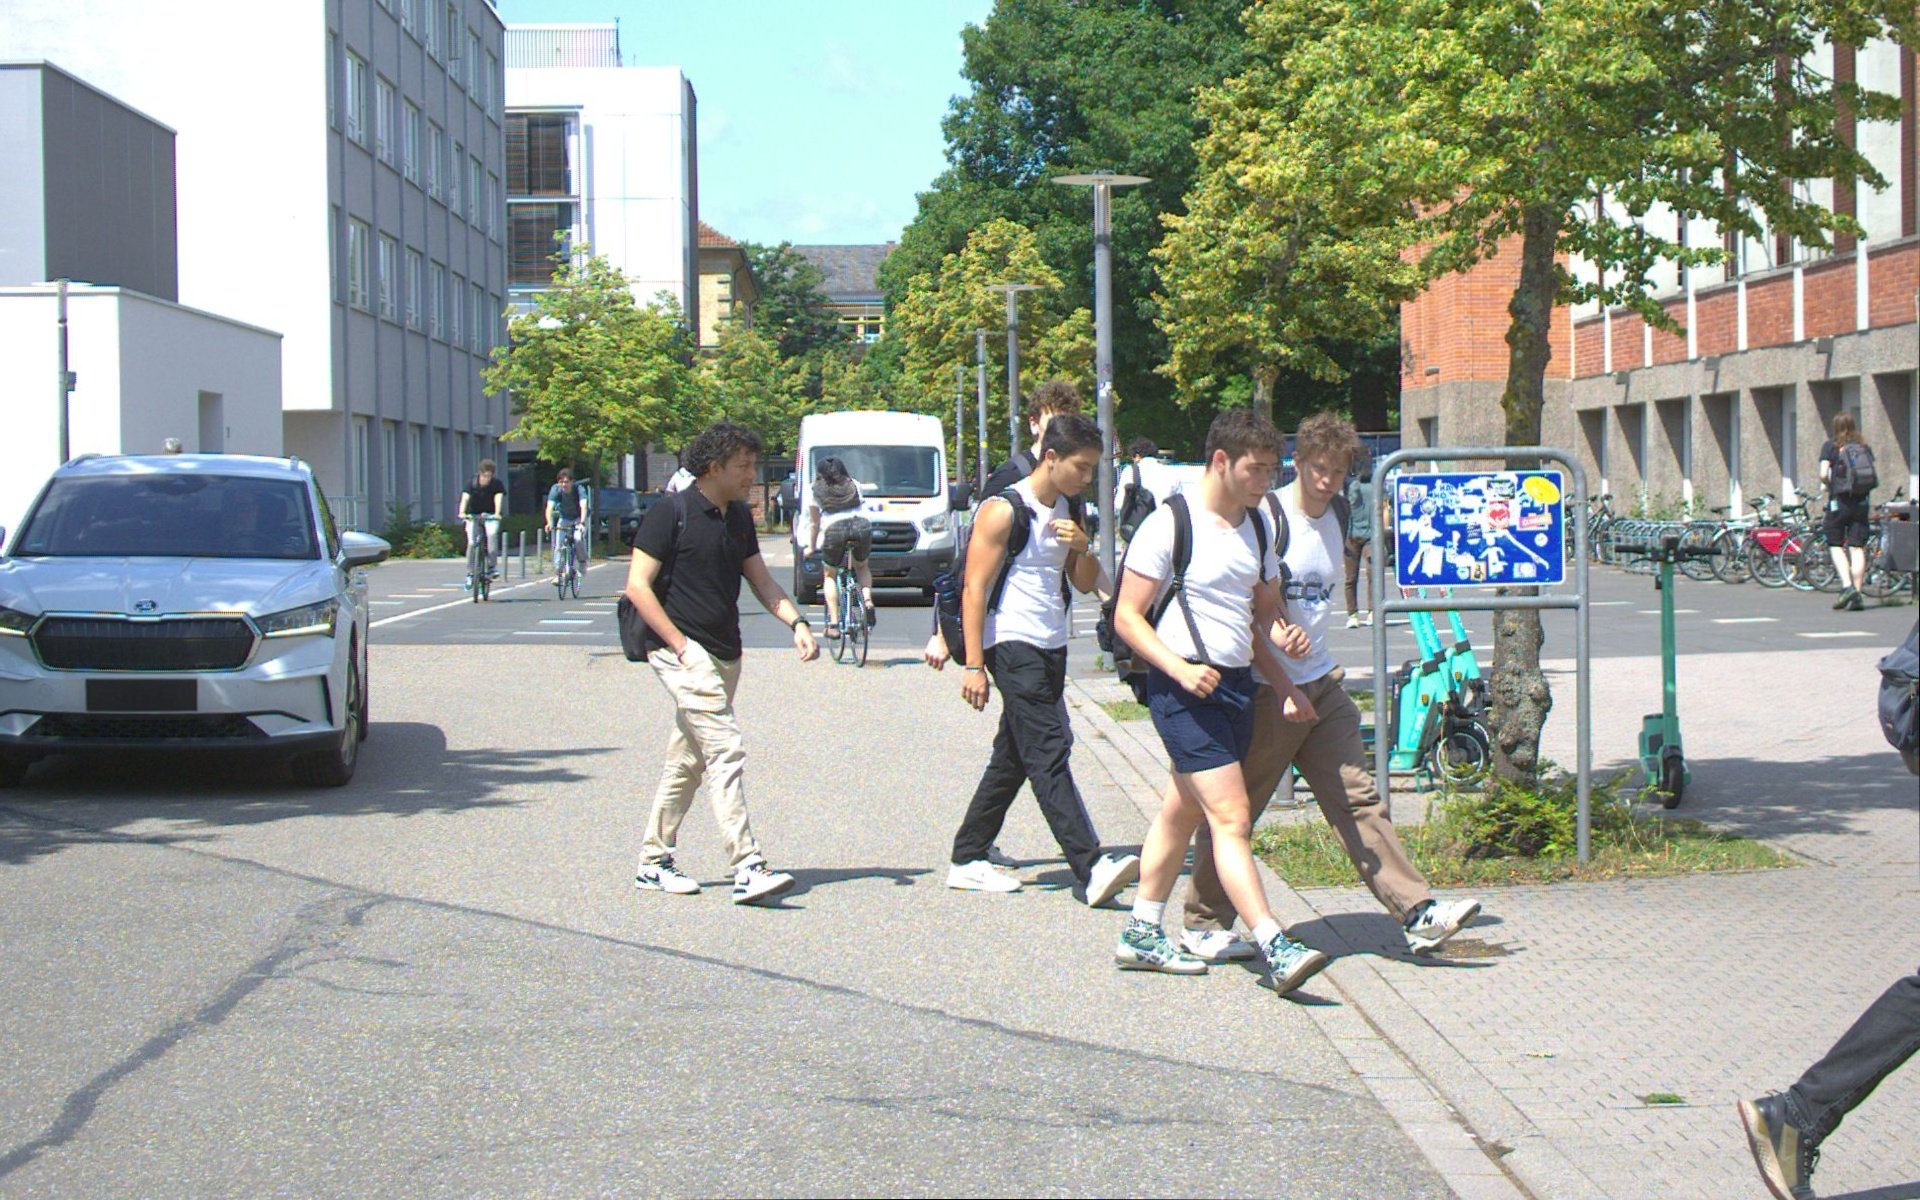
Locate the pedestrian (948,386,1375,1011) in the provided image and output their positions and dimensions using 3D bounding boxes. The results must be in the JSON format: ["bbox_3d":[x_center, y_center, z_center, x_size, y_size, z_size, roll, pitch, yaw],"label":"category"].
[{"bbox_3d":[0.592,0.260,10.101,0.982,1.733,0.699,0,2,38],"label":"pedestrian"}]

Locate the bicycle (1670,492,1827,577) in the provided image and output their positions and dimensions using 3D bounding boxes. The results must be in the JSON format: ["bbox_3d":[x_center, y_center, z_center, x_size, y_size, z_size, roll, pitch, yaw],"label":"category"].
[{"bbox_3d":[9.891,-0.830,43.152,1.809,0.981,0.560,-2,2,-2],"label":"bicycle"}]

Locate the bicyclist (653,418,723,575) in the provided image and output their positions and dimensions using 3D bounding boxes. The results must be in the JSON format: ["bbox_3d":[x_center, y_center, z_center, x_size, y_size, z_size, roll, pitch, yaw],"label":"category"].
[{"bbox_3d":[-3.061,-1.156,38.766,0.771,1.750,0.848,0,0,-4],"label":"bicyclist"}]

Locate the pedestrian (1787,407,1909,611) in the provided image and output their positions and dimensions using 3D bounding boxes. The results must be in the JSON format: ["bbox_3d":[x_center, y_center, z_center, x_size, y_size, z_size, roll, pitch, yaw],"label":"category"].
[{"bbox_3d":[8.303,-0.857,32.176,0.790,1.853,1.116,-1,2,-2],"label":"pedestrian"}]

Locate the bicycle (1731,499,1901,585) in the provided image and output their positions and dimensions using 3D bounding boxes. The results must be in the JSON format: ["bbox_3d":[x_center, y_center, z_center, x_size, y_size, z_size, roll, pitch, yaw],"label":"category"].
[{"bbox_3d":[9.973,-0.682,40.065,1.809,0.908,0.560,-2,2,-2],"label":"bicycle"}]

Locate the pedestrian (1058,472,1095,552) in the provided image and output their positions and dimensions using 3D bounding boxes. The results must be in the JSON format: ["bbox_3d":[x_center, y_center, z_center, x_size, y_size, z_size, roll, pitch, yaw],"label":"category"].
[{"bbox_3d":[2.733,-2.069,80.879,0.790,1.853,1.026,-1,2,0],"label":"pedestrian"}]

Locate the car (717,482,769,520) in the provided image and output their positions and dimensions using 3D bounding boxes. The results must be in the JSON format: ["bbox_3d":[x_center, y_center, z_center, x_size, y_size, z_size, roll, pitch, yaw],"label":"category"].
[{"bbox_3d":[-9.271,-4.249,146.996,1.795,1.524,4.000,-1,2,2],"label":"car"}]

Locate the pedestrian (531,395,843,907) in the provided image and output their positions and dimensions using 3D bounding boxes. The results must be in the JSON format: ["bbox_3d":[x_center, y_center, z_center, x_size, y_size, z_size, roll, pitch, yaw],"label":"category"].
[{"bbox_3d":[-0.968,0.157,12.358,0.802,1.766,0.854,0,3,20],"label":"pedestrian"}]

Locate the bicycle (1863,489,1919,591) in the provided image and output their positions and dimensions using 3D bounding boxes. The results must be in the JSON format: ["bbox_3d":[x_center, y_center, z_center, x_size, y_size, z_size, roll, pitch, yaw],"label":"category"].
[{"bbox_3d":[10.281,-0.648,35.880,1.535,1.029,0.560,-2,2,-2],"label":"bicycle"}]

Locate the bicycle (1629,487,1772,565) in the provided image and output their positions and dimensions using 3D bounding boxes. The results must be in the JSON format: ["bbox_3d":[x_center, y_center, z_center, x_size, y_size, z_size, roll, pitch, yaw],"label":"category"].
[{"bbox_3d":[10.154,-1.016,47.171,1.809,0.981,0.560,-2,2,-2],"label":"bicycle"}]

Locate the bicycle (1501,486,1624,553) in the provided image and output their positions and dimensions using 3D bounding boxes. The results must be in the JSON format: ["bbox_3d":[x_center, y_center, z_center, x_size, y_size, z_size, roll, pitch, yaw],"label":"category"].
[{"bbox_3d":[9.529,-1.272,54.415,1.809,0.981,0.560,-2,2,-2],"label":"bicycle"}]

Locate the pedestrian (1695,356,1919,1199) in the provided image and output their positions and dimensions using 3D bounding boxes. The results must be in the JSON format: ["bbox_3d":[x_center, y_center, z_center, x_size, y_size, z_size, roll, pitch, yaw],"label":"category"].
[{"bbox_3d":[2.063,0.378,6.788,1.105,1.710,0.710,-1,2,8],"label":"pedestrian"}]

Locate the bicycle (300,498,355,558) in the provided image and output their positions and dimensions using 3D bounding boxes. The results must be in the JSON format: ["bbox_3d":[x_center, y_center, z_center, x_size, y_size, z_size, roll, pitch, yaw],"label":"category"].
[{"bbox_3d":[-10.818,-1.237,58.834,0.523,0.981,1.633,-2,2,3],"label":"bicycle"}]

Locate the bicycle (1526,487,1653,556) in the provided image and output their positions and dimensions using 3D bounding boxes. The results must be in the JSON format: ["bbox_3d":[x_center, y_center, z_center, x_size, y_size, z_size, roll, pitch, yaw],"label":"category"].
[{"bbox_3d":[9.682,-1.216,52.884,1.809,0.981,0.560,-2,2,-2],"label":"bicycle"}]

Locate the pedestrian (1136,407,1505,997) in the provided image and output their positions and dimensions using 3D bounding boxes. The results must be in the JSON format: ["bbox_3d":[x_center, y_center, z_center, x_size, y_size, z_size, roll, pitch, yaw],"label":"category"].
[{"bbox_3d":[1.113,0.280,10.631,0.908,1.733,0.677,2,3,37],"label":"pedestrian"}]

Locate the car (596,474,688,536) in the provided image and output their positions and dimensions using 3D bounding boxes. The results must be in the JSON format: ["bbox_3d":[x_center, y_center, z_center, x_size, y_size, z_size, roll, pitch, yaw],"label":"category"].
[{"bbox_3d":[-8.143,-2.464,88.365,1.795,1.524,4.000,-1,2,2],"label":"car"}]

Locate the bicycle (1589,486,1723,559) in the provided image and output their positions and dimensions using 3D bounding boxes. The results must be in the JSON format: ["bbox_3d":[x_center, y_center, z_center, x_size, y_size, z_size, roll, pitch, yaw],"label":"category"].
[{"bbox_3d":[10.188,-1.139,50.358,1.809,0.981,0.560,-2,2,-2],"label":"bicycle"}]

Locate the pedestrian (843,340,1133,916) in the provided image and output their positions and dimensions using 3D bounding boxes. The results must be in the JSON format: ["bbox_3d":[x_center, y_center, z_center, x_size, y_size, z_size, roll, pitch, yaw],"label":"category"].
[{"bbox_3d":[0.093,0.088,12.290,0.616,1.973,0.829,-2,1,-33],"label":"pedestrian"}]

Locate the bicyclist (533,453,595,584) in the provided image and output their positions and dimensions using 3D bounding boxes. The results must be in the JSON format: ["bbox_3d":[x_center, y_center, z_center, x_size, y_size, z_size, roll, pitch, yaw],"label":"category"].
[{"bbox_3d":[-5.156,-1.066,44.803,0.667,1.676,0.993,-2,2,-2],"label":"bicyclist"}]

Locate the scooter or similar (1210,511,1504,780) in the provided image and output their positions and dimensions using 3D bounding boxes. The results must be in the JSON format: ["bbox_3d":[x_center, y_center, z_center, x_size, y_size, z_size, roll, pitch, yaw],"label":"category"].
[{"bbox_3d":[1.950,0.209,16.894,1.262,1.260,0.650,0,2,31],"label":"scooter or similar"}]

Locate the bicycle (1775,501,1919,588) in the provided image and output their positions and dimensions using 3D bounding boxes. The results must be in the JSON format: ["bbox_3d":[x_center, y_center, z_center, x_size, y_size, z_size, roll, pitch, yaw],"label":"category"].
[{"bbox_3d":[10.149,-0.629,38.666,1.809,0.908,0.560,-2,2,-2],"label":"bicycle"}]

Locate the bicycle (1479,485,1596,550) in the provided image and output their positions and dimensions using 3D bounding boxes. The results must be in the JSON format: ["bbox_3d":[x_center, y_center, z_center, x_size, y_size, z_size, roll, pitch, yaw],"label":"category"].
[{"bbox_3d":[9.528,-1.365,56.751,1.809,0.981,0.560,-2,2,-2],"label":"bicycle"}]

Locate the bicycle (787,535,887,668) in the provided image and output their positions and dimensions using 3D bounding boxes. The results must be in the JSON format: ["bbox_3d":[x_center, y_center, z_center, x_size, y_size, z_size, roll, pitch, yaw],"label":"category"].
[{"bbox_3d":[-1.016,-0.005,28.046,0.706,0.989,1.911,0,3,-5],"label":"bicycle"}]

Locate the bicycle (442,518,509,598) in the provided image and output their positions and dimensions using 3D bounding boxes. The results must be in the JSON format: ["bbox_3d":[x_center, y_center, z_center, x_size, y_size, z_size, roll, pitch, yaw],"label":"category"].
[{"bbox_3d":[-6.066,-0.539,43.119,0.677,0.961,2.003,0,2,-4],"label":"bicycle"}]

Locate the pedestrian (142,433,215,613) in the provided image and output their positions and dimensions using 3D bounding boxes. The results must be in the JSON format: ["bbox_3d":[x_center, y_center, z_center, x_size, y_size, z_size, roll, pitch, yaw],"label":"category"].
[{"bbox_3d":[-7.858,-0.771,34.571,0.666,1.779,0.985,-1,1,-14],"label":"pedestrian"}]

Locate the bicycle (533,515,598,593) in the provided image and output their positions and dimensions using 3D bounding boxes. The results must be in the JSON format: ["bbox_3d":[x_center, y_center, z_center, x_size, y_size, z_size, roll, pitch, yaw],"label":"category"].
[{"bbox_3d":[-5.154,-0.612,44.957,0.677,0.961,2.003,1,2,-2],"label":"bicycle"}]

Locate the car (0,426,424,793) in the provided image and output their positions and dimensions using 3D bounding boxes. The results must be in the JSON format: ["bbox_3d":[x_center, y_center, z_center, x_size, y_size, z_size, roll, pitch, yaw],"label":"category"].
[{"bbox_3d":[-3.862,0.000,17.820,1.917,1.613,4.521,2,1,-7],"label":"car"}]

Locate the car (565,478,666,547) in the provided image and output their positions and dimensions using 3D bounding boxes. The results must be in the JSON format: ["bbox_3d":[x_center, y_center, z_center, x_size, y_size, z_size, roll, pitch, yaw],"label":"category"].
[{"bbox_3d":[-8.085,-2.082,80.958,1.795,1.524,4.000,-1,2,2],"label":"car"}]

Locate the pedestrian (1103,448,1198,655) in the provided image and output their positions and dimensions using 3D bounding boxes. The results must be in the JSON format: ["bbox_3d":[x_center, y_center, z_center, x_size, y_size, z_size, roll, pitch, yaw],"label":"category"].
[{"bbox_3d":[1.569,-0.413,28.476,0.702,1.689,0.962,0,2,-1],"label":"pedestrian"}]

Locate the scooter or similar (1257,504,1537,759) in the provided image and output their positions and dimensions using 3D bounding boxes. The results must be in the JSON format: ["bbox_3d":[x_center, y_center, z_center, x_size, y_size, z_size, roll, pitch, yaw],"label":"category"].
[{"bbox_3d":[2.251,0.151,17.712,1.262,1.260,0.638,0,2,31],"label":"scooter or similar"}]

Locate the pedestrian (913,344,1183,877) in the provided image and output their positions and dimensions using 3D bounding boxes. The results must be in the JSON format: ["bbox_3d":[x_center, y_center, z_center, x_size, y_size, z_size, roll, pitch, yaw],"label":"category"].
[{"bbox_3d":[0.346,0.025,13.177,0.827,1.973,0.691,0,3,20],"label":"pedestrian"}]

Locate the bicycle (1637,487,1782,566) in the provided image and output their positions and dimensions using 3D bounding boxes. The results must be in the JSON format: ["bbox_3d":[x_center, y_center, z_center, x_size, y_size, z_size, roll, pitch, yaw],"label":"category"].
[{"bbox_3d":[10.155,-0.996,46.583,1.809,0.981,0.560,-2,2,-2],"label":"bicycle"}]

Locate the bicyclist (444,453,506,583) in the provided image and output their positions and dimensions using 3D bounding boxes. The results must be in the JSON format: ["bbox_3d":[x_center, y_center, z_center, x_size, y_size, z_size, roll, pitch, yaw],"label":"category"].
[{"bbox_3d":[-6.087,-1.038,43.182,0.643,1.596,0.909,-2,2,-3],"label":"bicyclist"}]

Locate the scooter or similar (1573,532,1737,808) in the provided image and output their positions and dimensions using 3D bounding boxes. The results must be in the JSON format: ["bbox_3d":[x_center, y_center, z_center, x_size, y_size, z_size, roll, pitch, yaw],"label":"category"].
[{"bbox_3d":[3.119,0.292,15.365,0.649,1.156,1.264,-1,2,14],"label":"scooter or similar"}]

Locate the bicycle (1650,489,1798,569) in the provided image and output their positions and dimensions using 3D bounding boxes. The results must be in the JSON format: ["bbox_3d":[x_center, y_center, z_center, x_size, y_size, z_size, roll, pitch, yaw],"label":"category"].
[{"bbox_3d":[10.185,-0.954,45.850,1.809,0.981,0.560,-2,2,-2],"label":"bicycle"}]

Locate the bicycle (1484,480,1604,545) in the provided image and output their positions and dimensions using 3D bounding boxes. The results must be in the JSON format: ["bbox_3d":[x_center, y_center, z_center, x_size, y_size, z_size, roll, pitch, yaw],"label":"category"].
[{"bbox_3d":[9.527,-1.429,56.110,1.809,0.981,0.560,-2,2,-2],"label":"bicycle"}]

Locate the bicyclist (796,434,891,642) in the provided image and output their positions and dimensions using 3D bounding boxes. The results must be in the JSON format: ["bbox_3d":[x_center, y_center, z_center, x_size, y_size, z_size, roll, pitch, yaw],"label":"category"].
[{"bbox_3d":[-0.954,-0.506,27.999,0.717,1.656,1.095,0,1,-4],"label":"bicyclist"}]

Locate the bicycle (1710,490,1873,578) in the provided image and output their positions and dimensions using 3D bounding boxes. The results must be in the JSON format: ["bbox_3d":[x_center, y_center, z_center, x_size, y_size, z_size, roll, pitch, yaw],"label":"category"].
[{"bbox_3d":[10.111,-0.807,41.831,1.809,0.981,0.560,-2,2,-2],"label":"bicycle"}]

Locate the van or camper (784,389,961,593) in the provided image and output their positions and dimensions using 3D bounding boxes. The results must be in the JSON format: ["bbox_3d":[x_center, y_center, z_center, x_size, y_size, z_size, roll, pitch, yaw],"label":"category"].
[{"bbox_3d":[-1.069,-1.383,44.234,1.993,2.437,4.570,-2,1,1],"label":"van or camper"}]

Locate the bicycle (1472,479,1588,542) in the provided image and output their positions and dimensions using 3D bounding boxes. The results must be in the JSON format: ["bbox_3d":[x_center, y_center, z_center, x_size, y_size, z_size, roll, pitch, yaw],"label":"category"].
[{"bbox_3d":[9.568,-1.501,57.712,1.809,0.981,0.560,-2,2,-2],"label":"bicycle"}]

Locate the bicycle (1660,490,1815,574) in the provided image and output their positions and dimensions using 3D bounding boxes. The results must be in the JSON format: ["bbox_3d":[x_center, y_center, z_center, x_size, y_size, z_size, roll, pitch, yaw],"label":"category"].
[{"bbox_3d":[9.900,-0.871,43.786,1.809,0.981,0.560,-2,2,-2],"label":"bicycle"}]

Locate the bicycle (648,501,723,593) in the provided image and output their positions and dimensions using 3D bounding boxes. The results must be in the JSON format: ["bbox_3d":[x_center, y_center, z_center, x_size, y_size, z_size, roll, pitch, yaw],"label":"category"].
[{"bbox_3d":[-3.099,-0.583,38.853,0.808,0.999,2.124,1,0,-4],"label":"bicycle"}]

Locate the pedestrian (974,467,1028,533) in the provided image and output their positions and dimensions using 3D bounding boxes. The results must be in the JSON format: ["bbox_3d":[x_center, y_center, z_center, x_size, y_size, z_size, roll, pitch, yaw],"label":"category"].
[{"bbox_3d":[1.299,-3.216,110.366,1.499,1.989,1.647,-4,3,-3],"label":"pedestrian"}]

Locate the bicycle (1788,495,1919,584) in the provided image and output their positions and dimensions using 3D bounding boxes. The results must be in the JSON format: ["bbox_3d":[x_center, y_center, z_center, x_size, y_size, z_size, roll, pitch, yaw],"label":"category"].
[{"bbox_3d":[10.093,-0.676,37.807,1.809,0.908,0.560,-2,2,-2],"label":"bicycle"}]

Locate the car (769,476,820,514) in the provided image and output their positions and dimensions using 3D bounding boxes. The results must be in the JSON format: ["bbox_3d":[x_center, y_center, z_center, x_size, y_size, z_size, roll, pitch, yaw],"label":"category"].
[{"bbox_3d":[-7.039,-4.499,146.795,1.795,1.524,4.000,-1,2,2],"label":"car"}]

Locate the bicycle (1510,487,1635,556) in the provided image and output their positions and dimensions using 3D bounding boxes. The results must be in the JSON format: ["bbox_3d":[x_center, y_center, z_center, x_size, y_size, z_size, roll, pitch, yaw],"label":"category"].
[{"bbox_3d":[9.569,-1.230,53.711,1.809,0.981,0.560,-2,2,-2],"label":"bicycle"}]

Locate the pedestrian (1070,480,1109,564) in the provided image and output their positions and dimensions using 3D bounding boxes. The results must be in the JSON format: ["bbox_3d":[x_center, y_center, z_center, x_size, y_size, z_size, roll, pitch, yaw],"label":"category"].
[{"bbox_3d":[2.924,-1.772,77.758,0.790,1.853,1.026,-1,2,0],"label":"pedestrian"}]

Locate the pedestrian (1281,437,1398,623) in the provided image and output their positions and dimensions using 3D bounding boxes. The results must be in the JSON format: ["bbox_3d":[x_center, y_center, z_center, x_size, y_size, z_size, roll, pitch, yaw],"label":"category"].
[{"bbox_3d":[3.614,-0.676,32.778,0.853,1.726,1.161,-1,2,-6],"label":"pedestrian"}]

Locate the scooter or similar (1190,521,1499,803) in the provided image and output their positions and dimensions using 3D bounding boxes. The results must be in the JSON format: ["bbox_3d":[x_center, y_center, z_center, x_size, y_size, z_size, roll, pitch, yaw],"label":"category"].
[{"bbox_3d":[1.800,0.276,16.119,1.262,1.260,0.650,0,2,31],"label":"scooter or similar"}]

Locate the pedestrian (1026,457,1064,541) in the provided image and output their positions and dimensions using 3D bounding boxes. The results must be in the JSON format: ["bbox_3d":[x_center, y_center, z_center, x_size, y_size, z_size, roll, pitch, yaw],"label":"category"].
[{"bbox_3d":[1.917,-2.294,77.955,0.790,1.853,1.243,-1,2,0],"label":"pedestrian"}]
